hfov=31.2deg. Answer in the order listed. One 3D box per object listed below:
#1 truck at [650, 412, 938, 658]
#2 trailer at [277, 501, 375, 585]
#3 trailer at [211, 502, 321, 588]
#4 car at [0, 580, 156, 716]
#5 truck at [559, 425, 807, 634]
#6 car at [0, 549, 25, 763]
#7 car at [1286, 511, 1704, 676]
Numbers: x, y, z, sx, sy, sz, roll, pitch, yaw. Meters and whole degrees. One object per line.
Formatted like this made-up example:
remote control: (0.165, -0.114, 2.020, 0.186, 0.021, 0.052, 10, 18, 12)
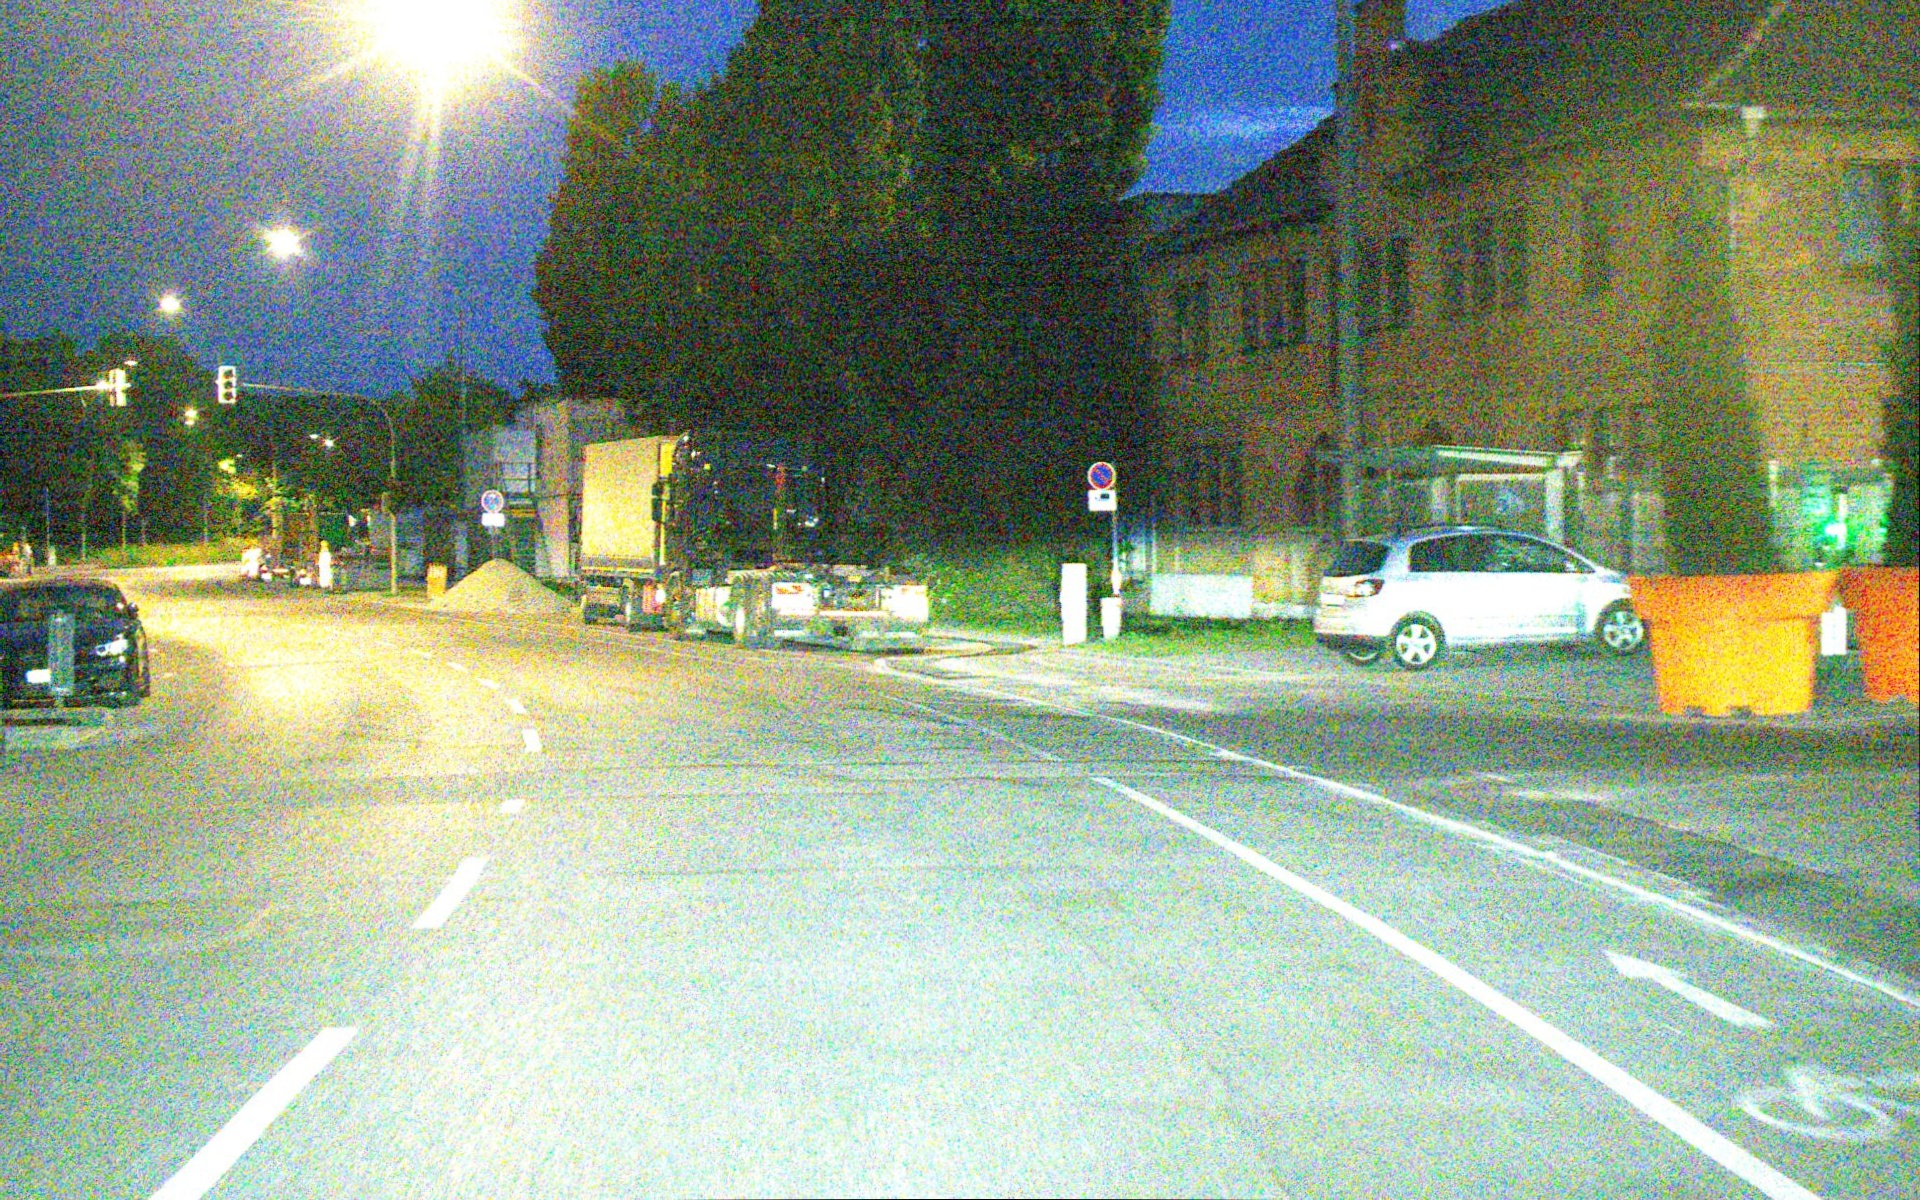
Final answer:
truck: (-2.946, -1.061, 57.467, 2.754, 3.770, 9.140, -1, 1, -16)
trailer: (-22.198, -1.950, 120.263, 2.613, 2.836, 4.710, 1, 0, -20)
trailer: (-27.073, -2.106, 133.960, 3.480, 3.208, 4.866, 1, 0, -20)
car: (-9.815, 0.489, 37.924, 1.813, 1.366, 4.362, 0, 1, -13)
truck: (-5.594, -1.345, 67.402, 2.754, 3.770, 10.229, -1, 1, -16)
car: (-7.941, 0.440, 24.374, 1.866, 1.587, 4.495, 0, 1, -7)
car: (6.175, -0.102, 39.749, 4.325, 1.640, 1.893, -3, 2, -17)
